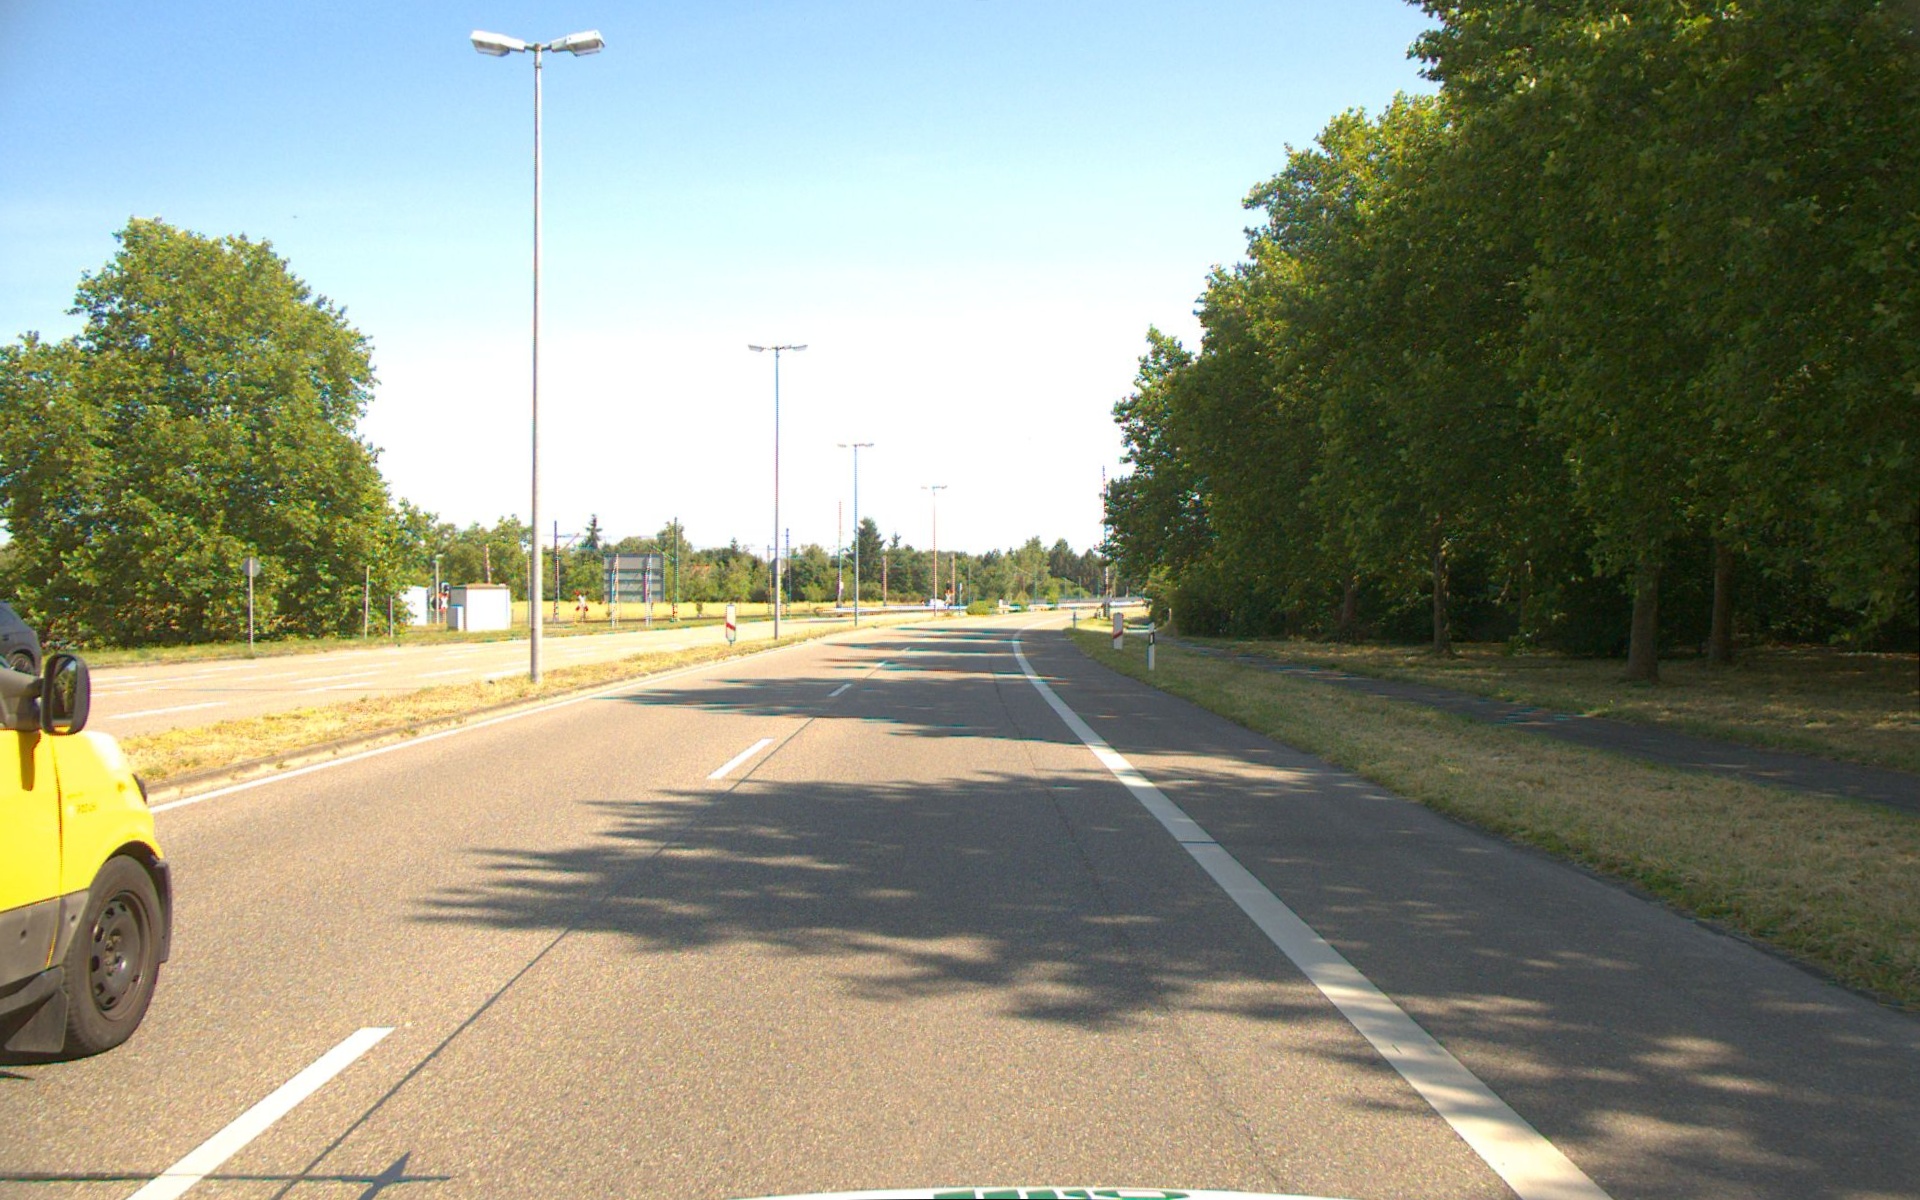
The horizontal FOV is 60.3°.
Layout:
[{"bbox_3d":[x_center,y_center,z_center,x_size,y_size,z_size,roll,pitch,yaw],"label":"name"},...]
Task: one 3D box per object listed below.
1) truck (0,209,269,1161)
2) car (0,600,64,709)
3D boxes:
[{"bbox_3d":[-3.516,0.216,3.113,2.069,2.500,5.914,1,0,-2],"label":"truck"},{"bbox_3d":[-15.892,0.856,25.270,1.942,1.689,4.554,-1,0,0],"label":"car"}]
